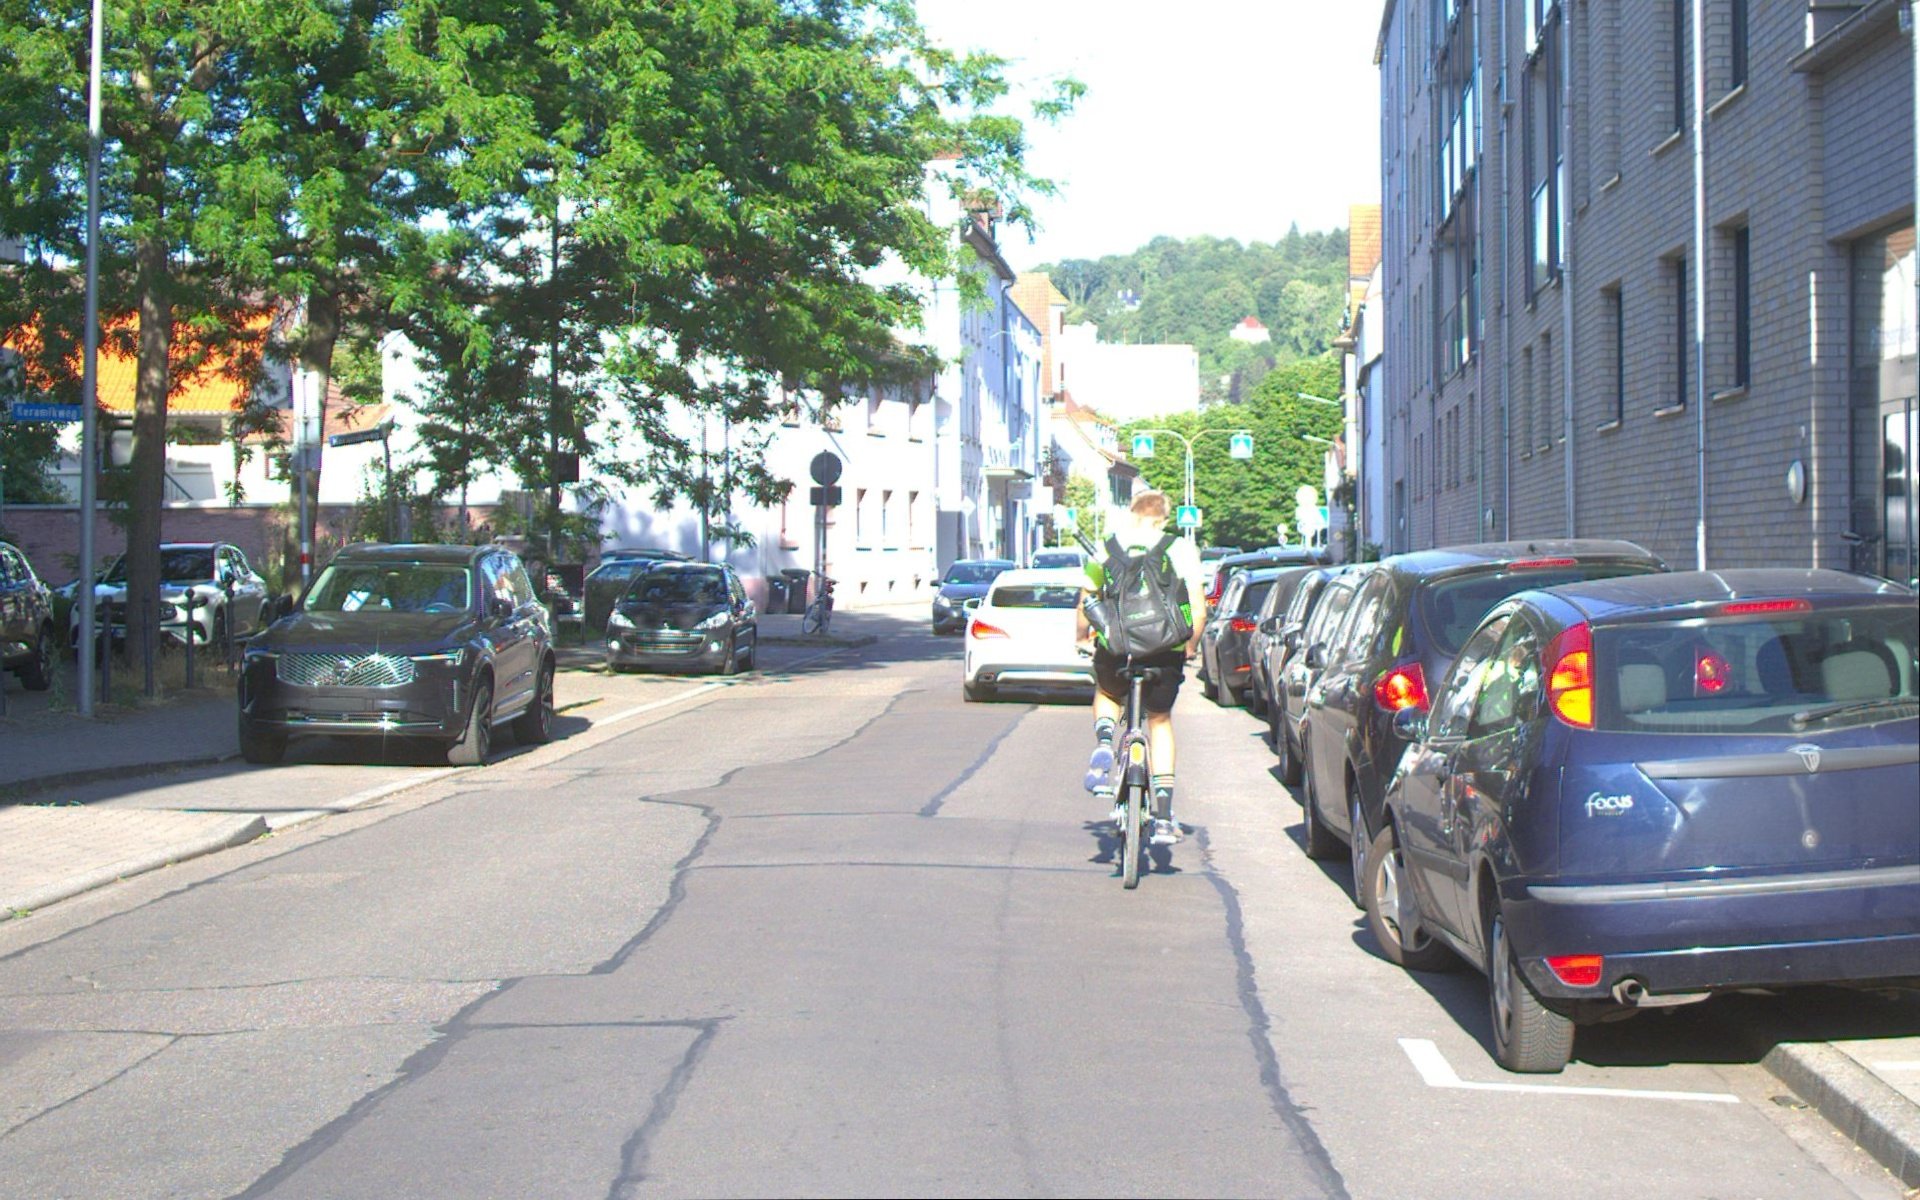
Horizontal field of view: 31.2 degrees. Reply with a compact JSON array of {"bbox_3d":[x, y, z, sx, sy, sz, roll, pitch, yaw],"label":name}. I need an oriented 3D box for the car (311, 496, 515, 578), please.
[{"bbox_3d":[-10.821,-1.250,68.212,3.900,1.570,1.710,0,1,-6],"label":"car"}]

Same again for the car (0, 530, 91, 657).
[{"bbox_3d":[-13.092,-0.136,46.187,1.857,1.581,3.672,2,1,0],"label":"car"}]

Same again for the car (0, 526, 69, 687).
[{"bbox_3d":[-10.554,0.035,35.033,1.857,1.581,4.622,2,1,-2],"label":"car"}]

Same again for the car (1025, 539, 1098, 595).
[{"bbox_3d":[3.089,-0.999,103.514,1.945,1.581,4.621,-3,1,4],"label":"car"}]

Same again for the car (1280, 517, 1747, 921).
[{"bbox_3d":[2.530,0.466,16.546,1.664,1.696,3.914,1,1,1],"label":"car"}]

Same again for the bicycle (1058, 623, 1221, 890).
[{"bbox_3d":[0.825,0.691,16.251,0.698,1.126,2.403,1,0,2],"label":"bicycle"}]

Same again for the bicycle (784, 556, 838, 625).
[{"bbox_3d":[-2.700,-0.186,62.523,0.835,1.213,2.842,1,1,0],"label":"bicycle"}]

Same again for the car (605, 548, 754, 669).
[{"bbox_3d":[-3.839,0.082,47.545,1.704,1.570,3.914,1,1,0],"label":"car"}]

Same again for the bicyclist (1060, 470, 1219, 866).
[{"bbox_3d":[0.830,0.304,16.117,0.698,1.784,1.040,1,0,2],"label":"bicyclist"}]

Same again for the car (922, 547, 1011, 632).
[{"bbox_3d":[0.129,-0.224,66.612,1.664,1.570,3.914,1,1,0],"label":"car"}]

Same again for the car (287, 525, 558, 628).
[{"bbox_3d":[-8.519,-0.387,54.620,3.902,1.570,1.709,1,1,9],"label":"car"}]

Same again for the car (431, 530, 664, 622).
[{"bbox_3d":[-7.373,-0.442,61.680,3.901,1.570,1.710,1,1,4],"label":"car"}]

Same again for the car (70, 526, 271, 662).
[{"bbox_3d":[-10.579,-0.122,46.330,1.790,1.684,3.965,2,1,-1],"label":"car"}]

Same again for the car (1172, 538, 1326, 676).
[{"bbox_3d":[3.864,0.058,46.573,1.858,1.696,4.621,-3,1,3],"label":"car"}]

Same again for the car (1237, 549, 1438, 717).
[{"bbox_3d":[3.530,0.275,32.593,1.508,1.439,3.529,-3,1,1],"label":"car"}]

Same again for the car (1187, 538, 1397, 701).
[{"bbox_3d":[3.556,0.176,37.545,1.858,1.581,4.621,-3,1,1],"label":"car"}]

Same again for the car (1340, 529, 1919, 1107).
[{"bbox_3d":[2.365,0.589,11.763,1.629,1.581,4.069,-3,1,0],"label":"car"}]

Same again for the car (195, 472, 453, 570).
[{"bbox_3d":[-10.613,-1.318,57.503,3.902,1.570,1.709,1,1,6],"label":"car"}]

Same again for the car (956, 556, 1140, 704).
[{"bbox_3d":[0.898,0.291,37.106,1.842,1.486,4.144,1,0,0],"label":"car"}]

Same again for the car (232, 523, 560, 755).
[{"bbox_3d":[-4.661,0.259,29.086,1.853,1.785,4.607,1,1,2],"label":"car"}]

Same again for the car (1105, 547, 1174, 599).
[{"bbox_3d":[5.845,-0.890,111.526,1.945,1.581,4.620,-3,1,6],"label":"car"}]

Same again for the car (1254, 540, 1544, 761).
[{"bbox_3d":[3.367,0.333,27.151,1.858,1.581,4.621,0,1,2],"label":"car"}]
